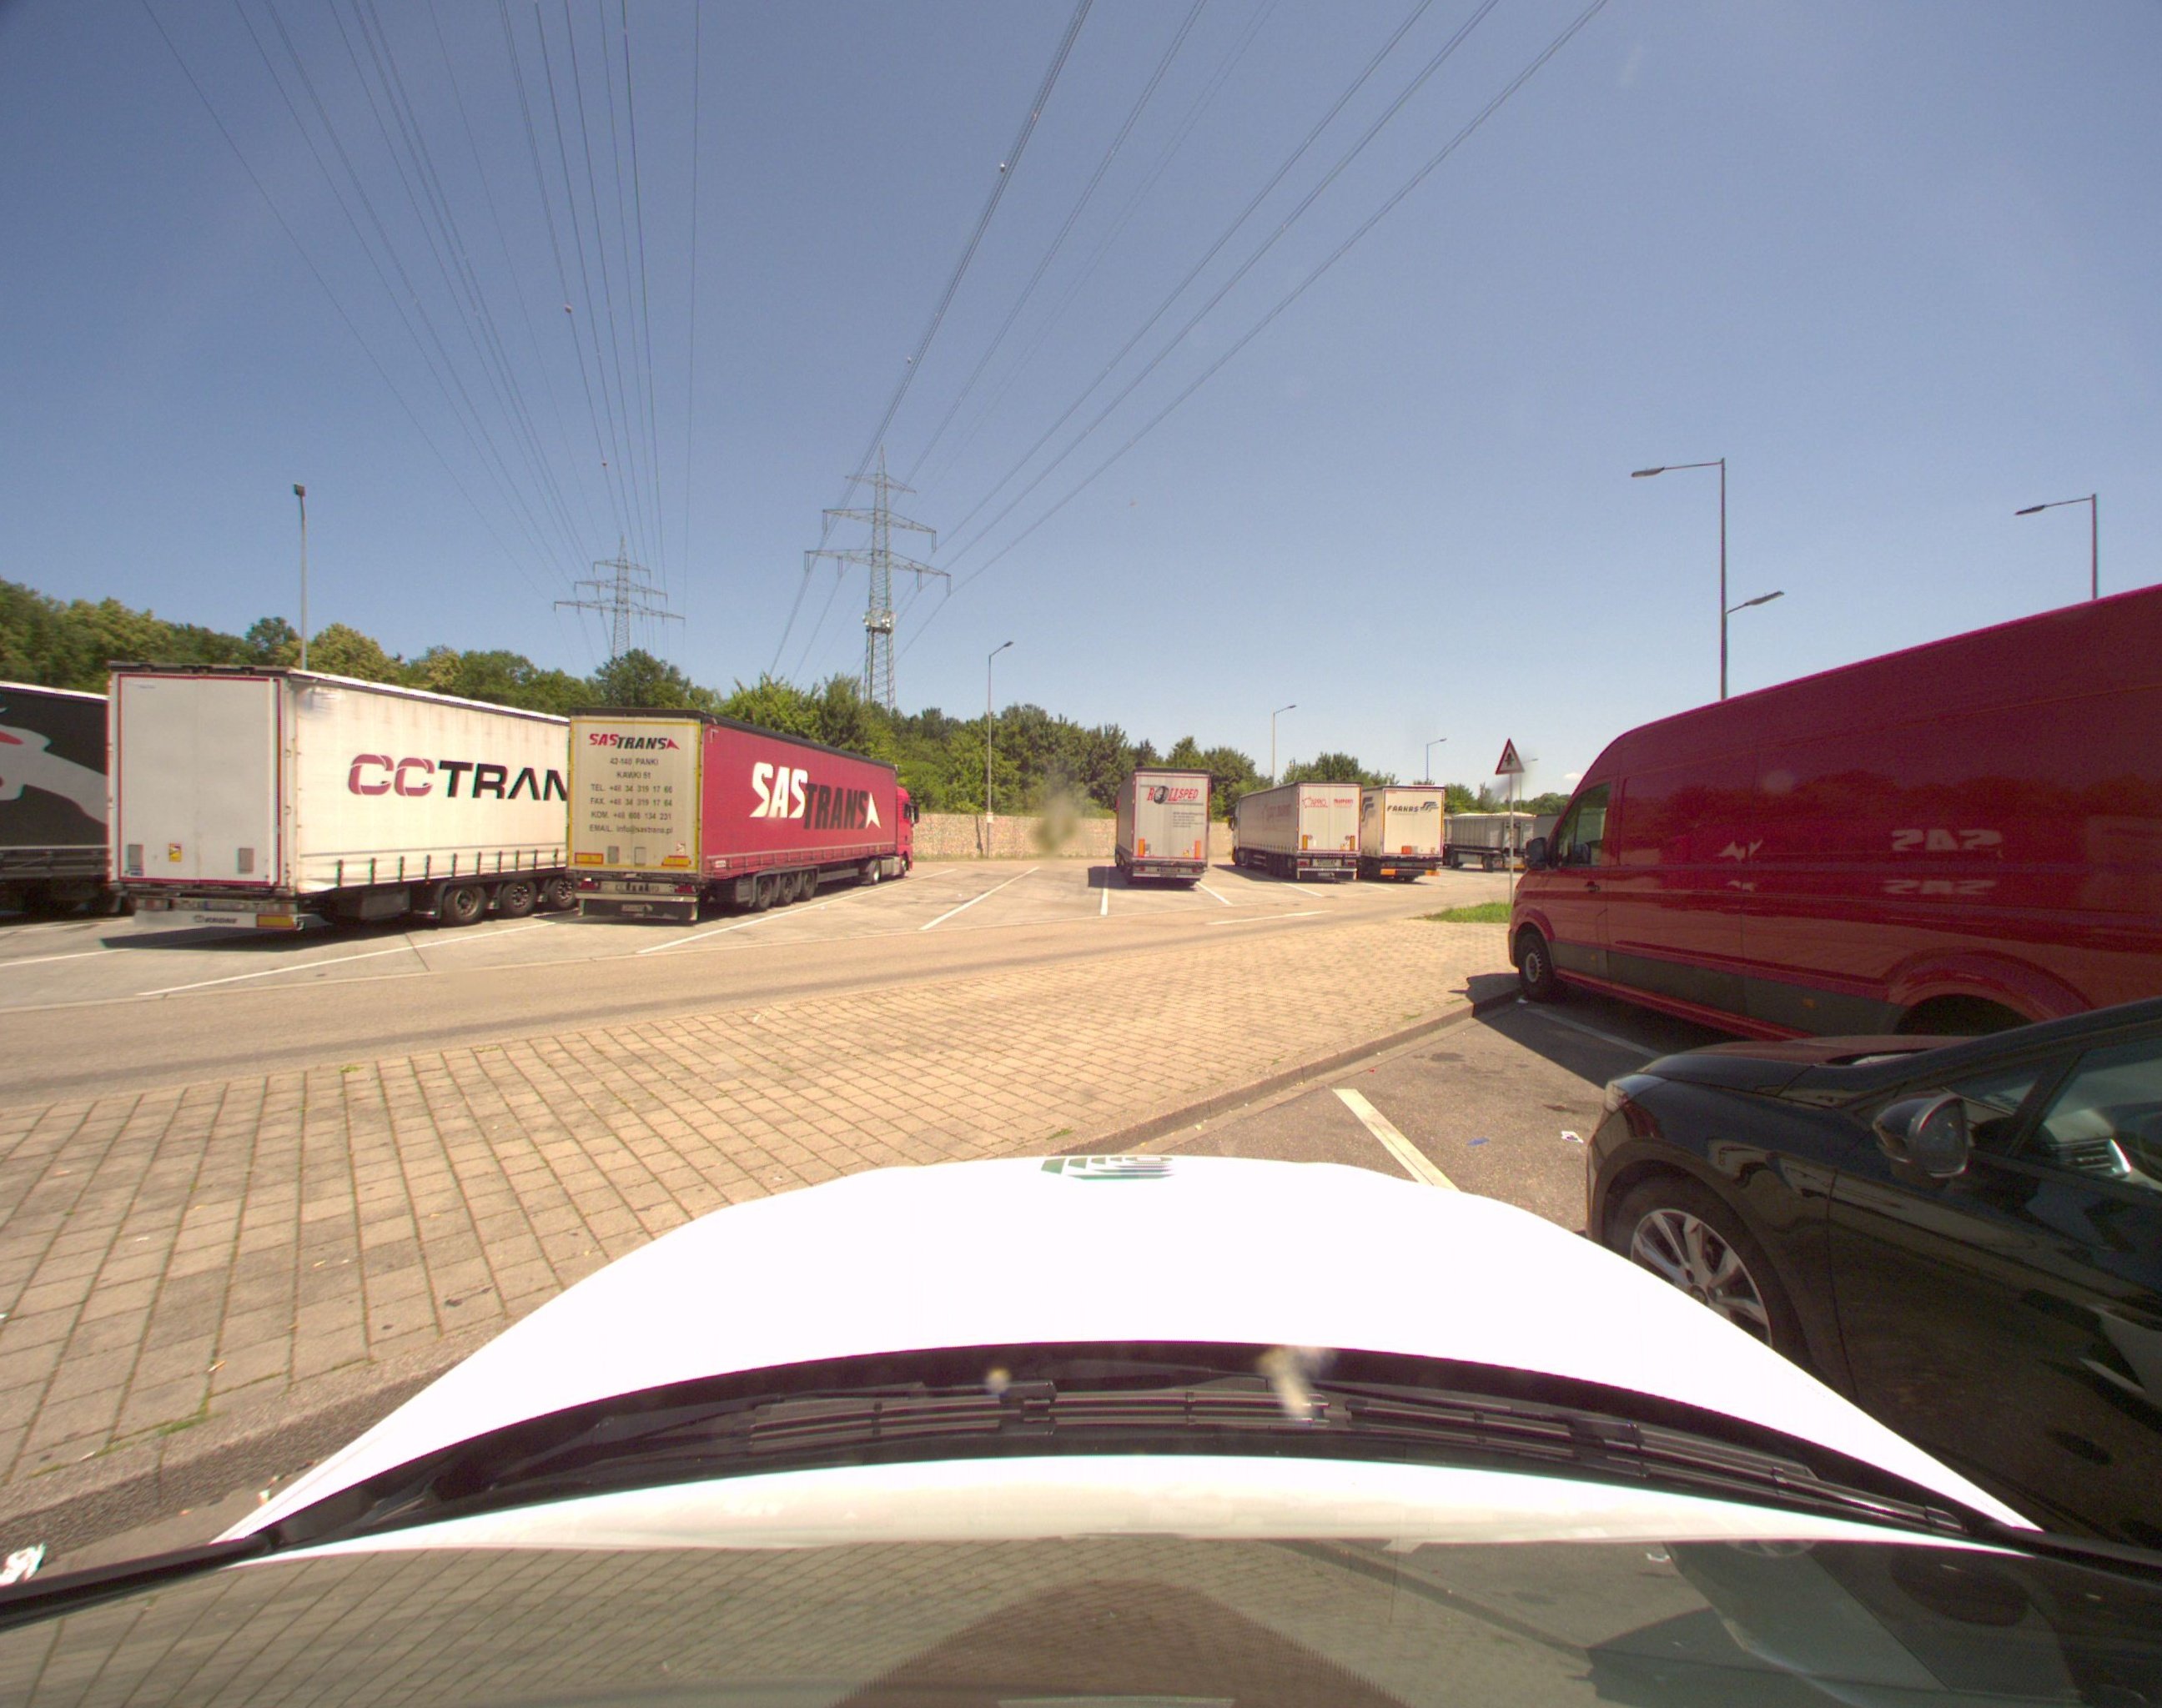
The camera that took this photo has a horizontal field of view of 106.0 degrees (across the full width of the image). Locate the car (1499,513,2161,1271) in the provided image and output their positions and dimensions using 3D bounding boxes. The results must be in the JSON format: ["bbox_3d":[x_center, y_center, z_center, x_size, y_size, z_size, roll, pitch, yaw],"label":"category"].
[{"bbox_3d":[5.173,0.087,5.498,2.055,2.695,6.405,-1,1,6],"label":"car"}]

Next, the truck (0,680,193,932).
[{"bbox_3d":[-18.568,-0.799,13.573,2.692,4.016,4.326,1,2,2],"label":"truck"}]

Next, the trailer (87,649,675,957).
[{"bbox_3d":[-12.192,-0.887,16.337,2.718,4.209,10.175,1,2,2],"label":"trailer"}]

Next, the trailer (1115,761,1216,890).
[{"bbox_3d":[3.037,-1.099,33.305,2.896,4.132,13.727,1,2,1],"label":"trailer"}]

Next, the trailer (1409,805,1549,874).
[{"bbox_3d":[24.544,-0.996,51.461,2.826,3.717,13.737,1,2,3],"label":"trailer"}]

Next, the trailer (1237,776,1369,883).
[{"bbox_3d":[9.968,-1.150,38.631,2.828,4.132,13.730,1,2,2],"label":"trailer"}]

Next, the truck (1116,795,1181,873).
[{"bbox_3d":[3.181,-0.984,39.917,2.841,3.483,5.486,1,1,2],"label":"truck"}]

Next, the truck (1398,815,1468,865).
[{"bbox_3d":[24.934,-1.004,57.959,2.840,3.364,5.488,1,1,3],"label":"truck"}]

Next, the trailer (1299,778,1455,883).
[{"bbox_3d":[13.624,-1.117,39.295,2.828,4.132,13.730,1,2,2],"label":"trailer"}]

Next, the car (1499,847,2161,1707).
[{"bbox_3d":[2.530,0.753,1.188,1.733,1.482,3.813,-1,1,-3],"label":"car"}]

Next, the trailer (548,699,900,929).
[{"bbox_3d":[-8.027,-0.951,21.666,2.896,4.131,13.731,1,2,2],"label":"trailer"}]

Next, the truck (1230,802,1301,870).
[{"bbox_3d":[10.176,-1.024,45.442,2.841,3.483,5.486,1,1,2],"label":"truck"}]

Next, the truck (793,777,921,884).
[{"bbox_3d":[-7.788,-0.832,29.102,2.841,3.427,5.486,1,1,2],"label":"truck"}]

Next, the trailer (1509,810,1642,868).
[{"bbox_3d":[38.388,-1.231,64.144,2.826,4.049,13.737,1,2,3],"label":"trailer"}]
